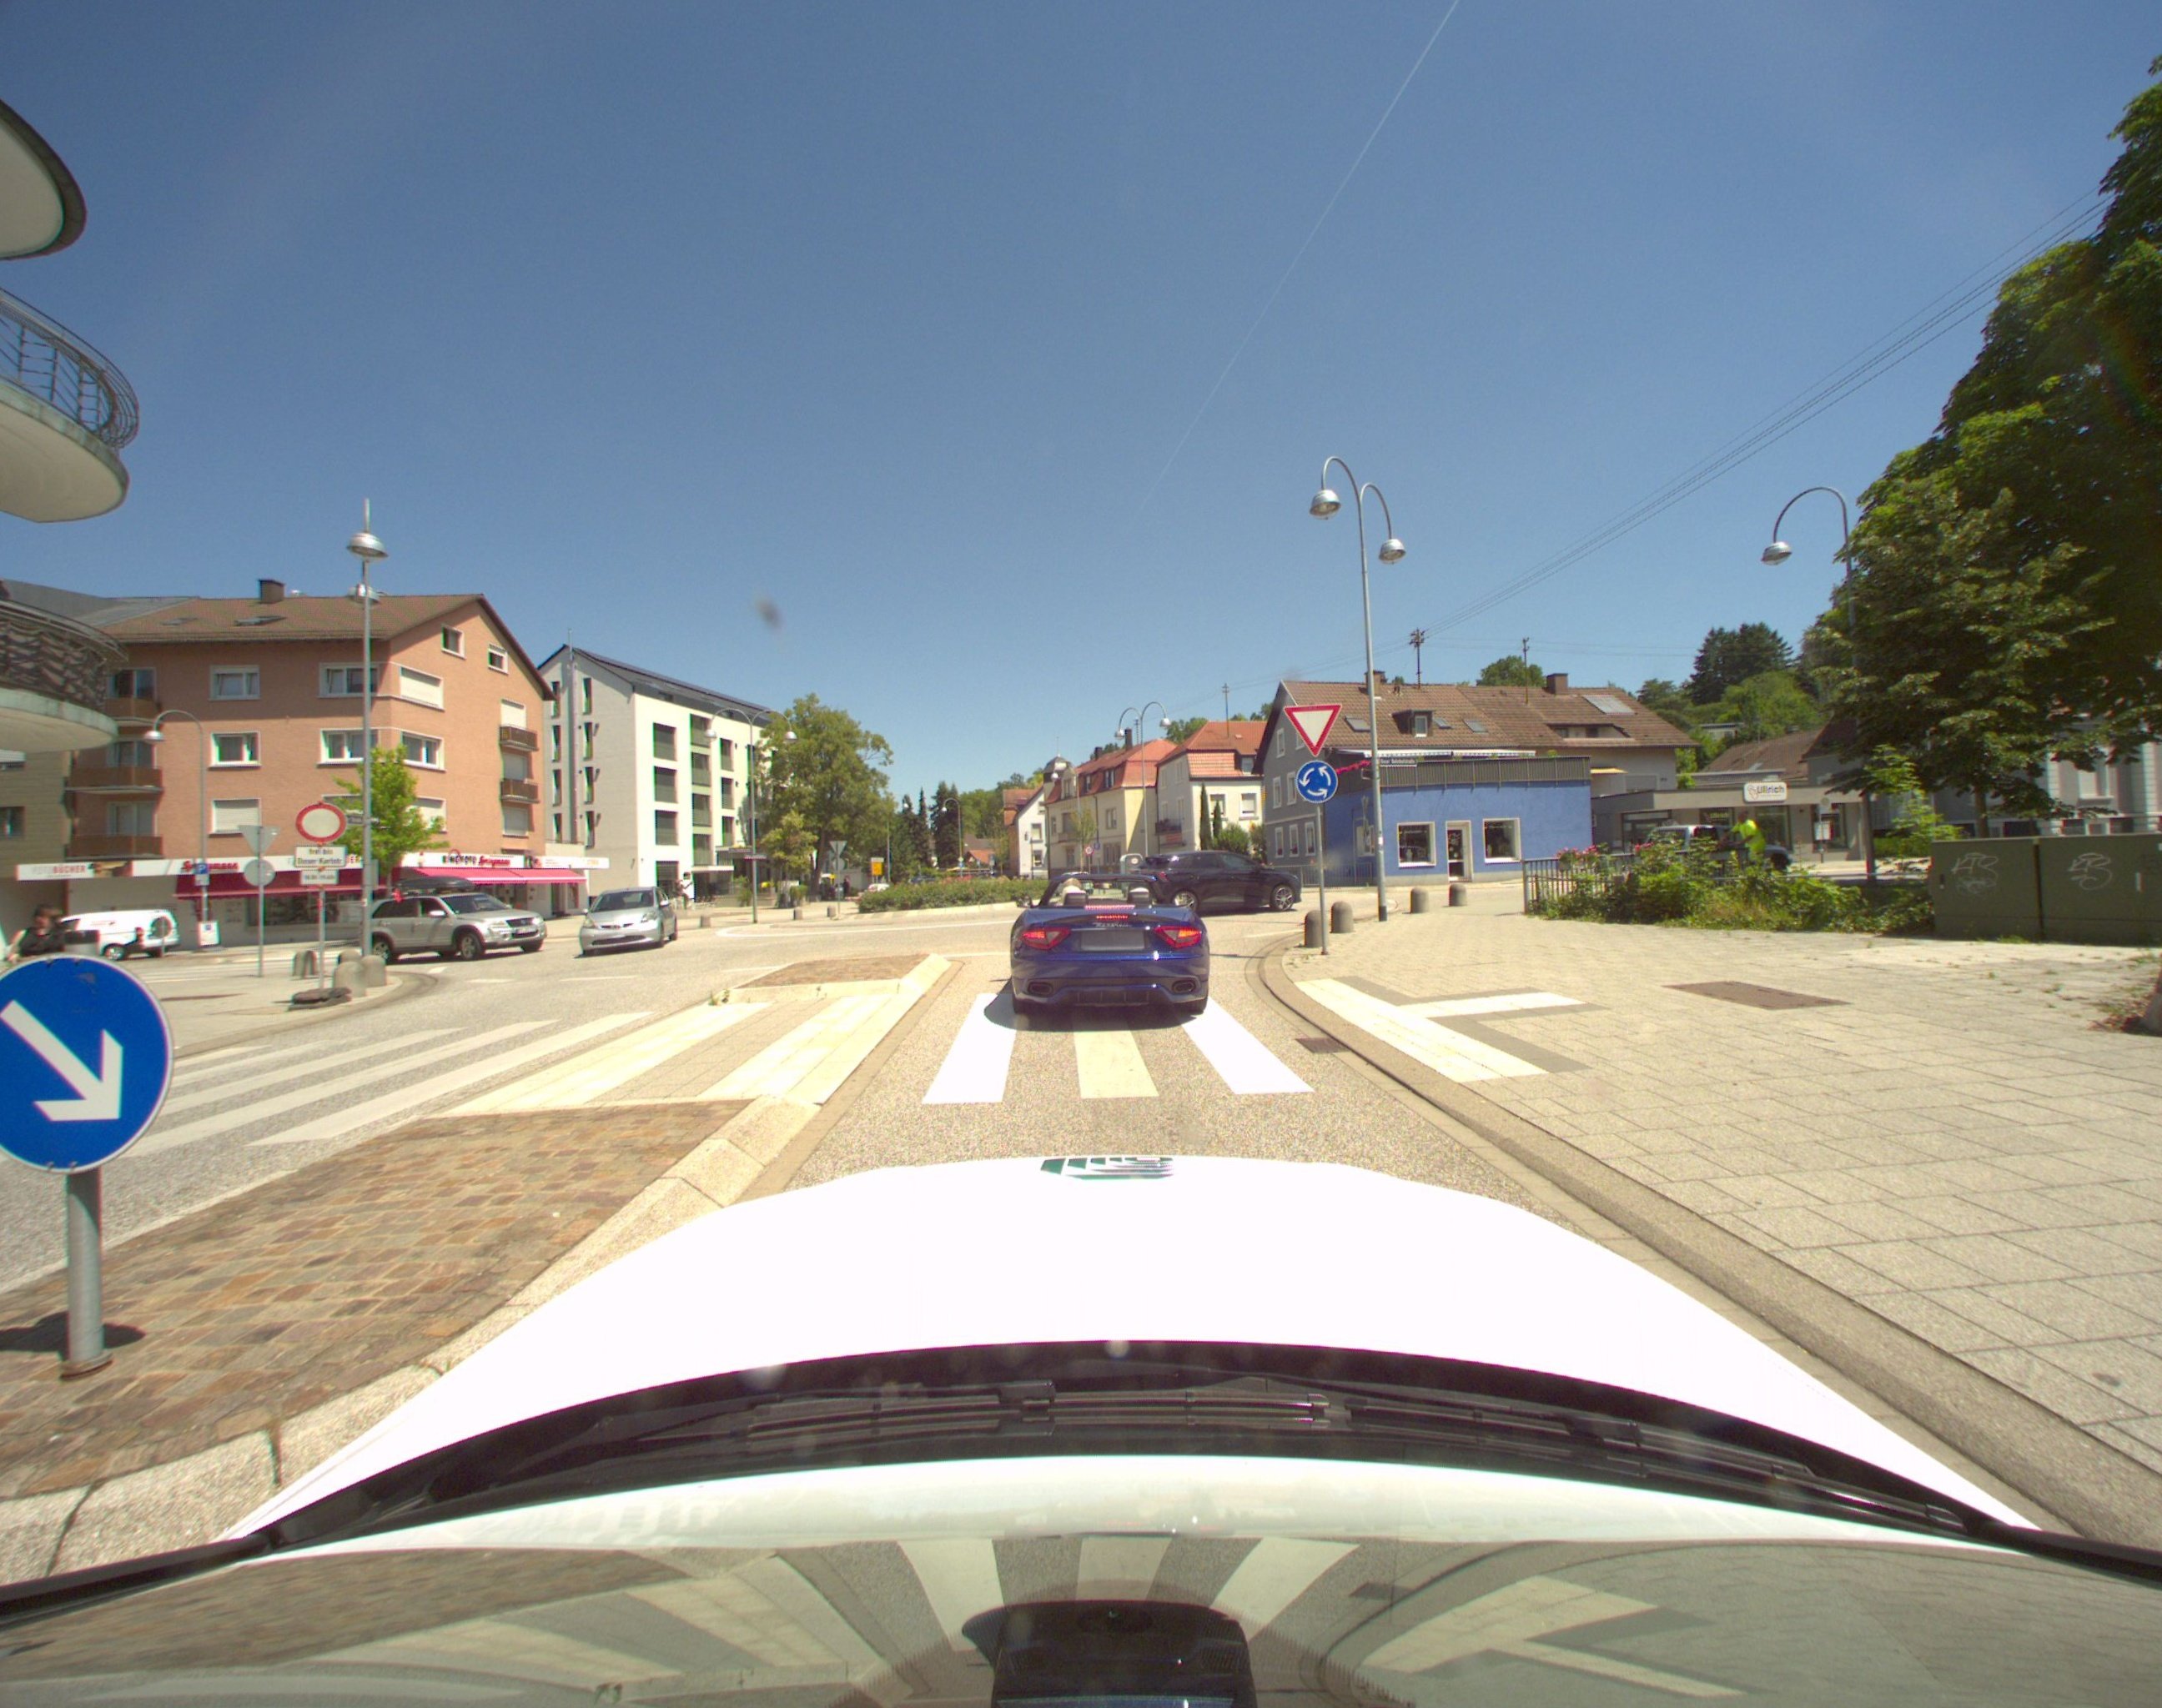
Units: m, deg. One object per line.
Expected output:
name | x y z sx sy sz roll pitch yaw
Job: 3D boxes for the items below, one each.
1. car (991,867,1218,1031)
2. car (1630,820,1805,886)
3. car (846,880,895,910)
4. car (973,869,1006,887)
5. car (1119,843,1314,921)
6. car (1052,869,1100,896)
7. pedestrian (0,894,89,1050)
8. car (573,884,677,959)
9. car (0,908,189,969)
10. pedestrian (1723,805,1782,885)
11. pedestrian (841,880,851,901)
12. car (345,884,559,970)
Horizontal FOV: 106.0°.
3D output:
car | 0.306 0.850 9.110 1.903 1.360 4.288 -1 -1 3
car | 19.134 -0.036 24.553 4.216 1.875 1.757 -1 -1 -9
car | -11.740 2.269 45.666 1.991 1.509 3.991 -2 -1 -6
car | -9.091 2.405 80.847 1.861 1.588 3.962 -3 -1 -29
car | 3.231 0.613 19.468 4.266 1.547 1.798 -3 0 -22
car | -0.372 1.884 53.570 1.924 1.613 4.121 -2 -2 -18
pedestrian | -11.235 1.248 8.830 0.508 1.585 0.550 -4 -2 42
car | -10.700 1.514 19.329 1.581 1.450 3.445 -5 0 -21
car | -34.657 2.917 28.668 3.994 1.750 1.793 -3 -1 -15
pedestrian | 15.805 -0.203 19.183 0.738 1.799 0.676 -4 -1 -17
pedestrian | -18.721 2.900 64.833 0.531 1.576 0.564 -3 -1 12
car | -15.652 1.801 20.340 4.159 1.688 1.845 -4 1 12
